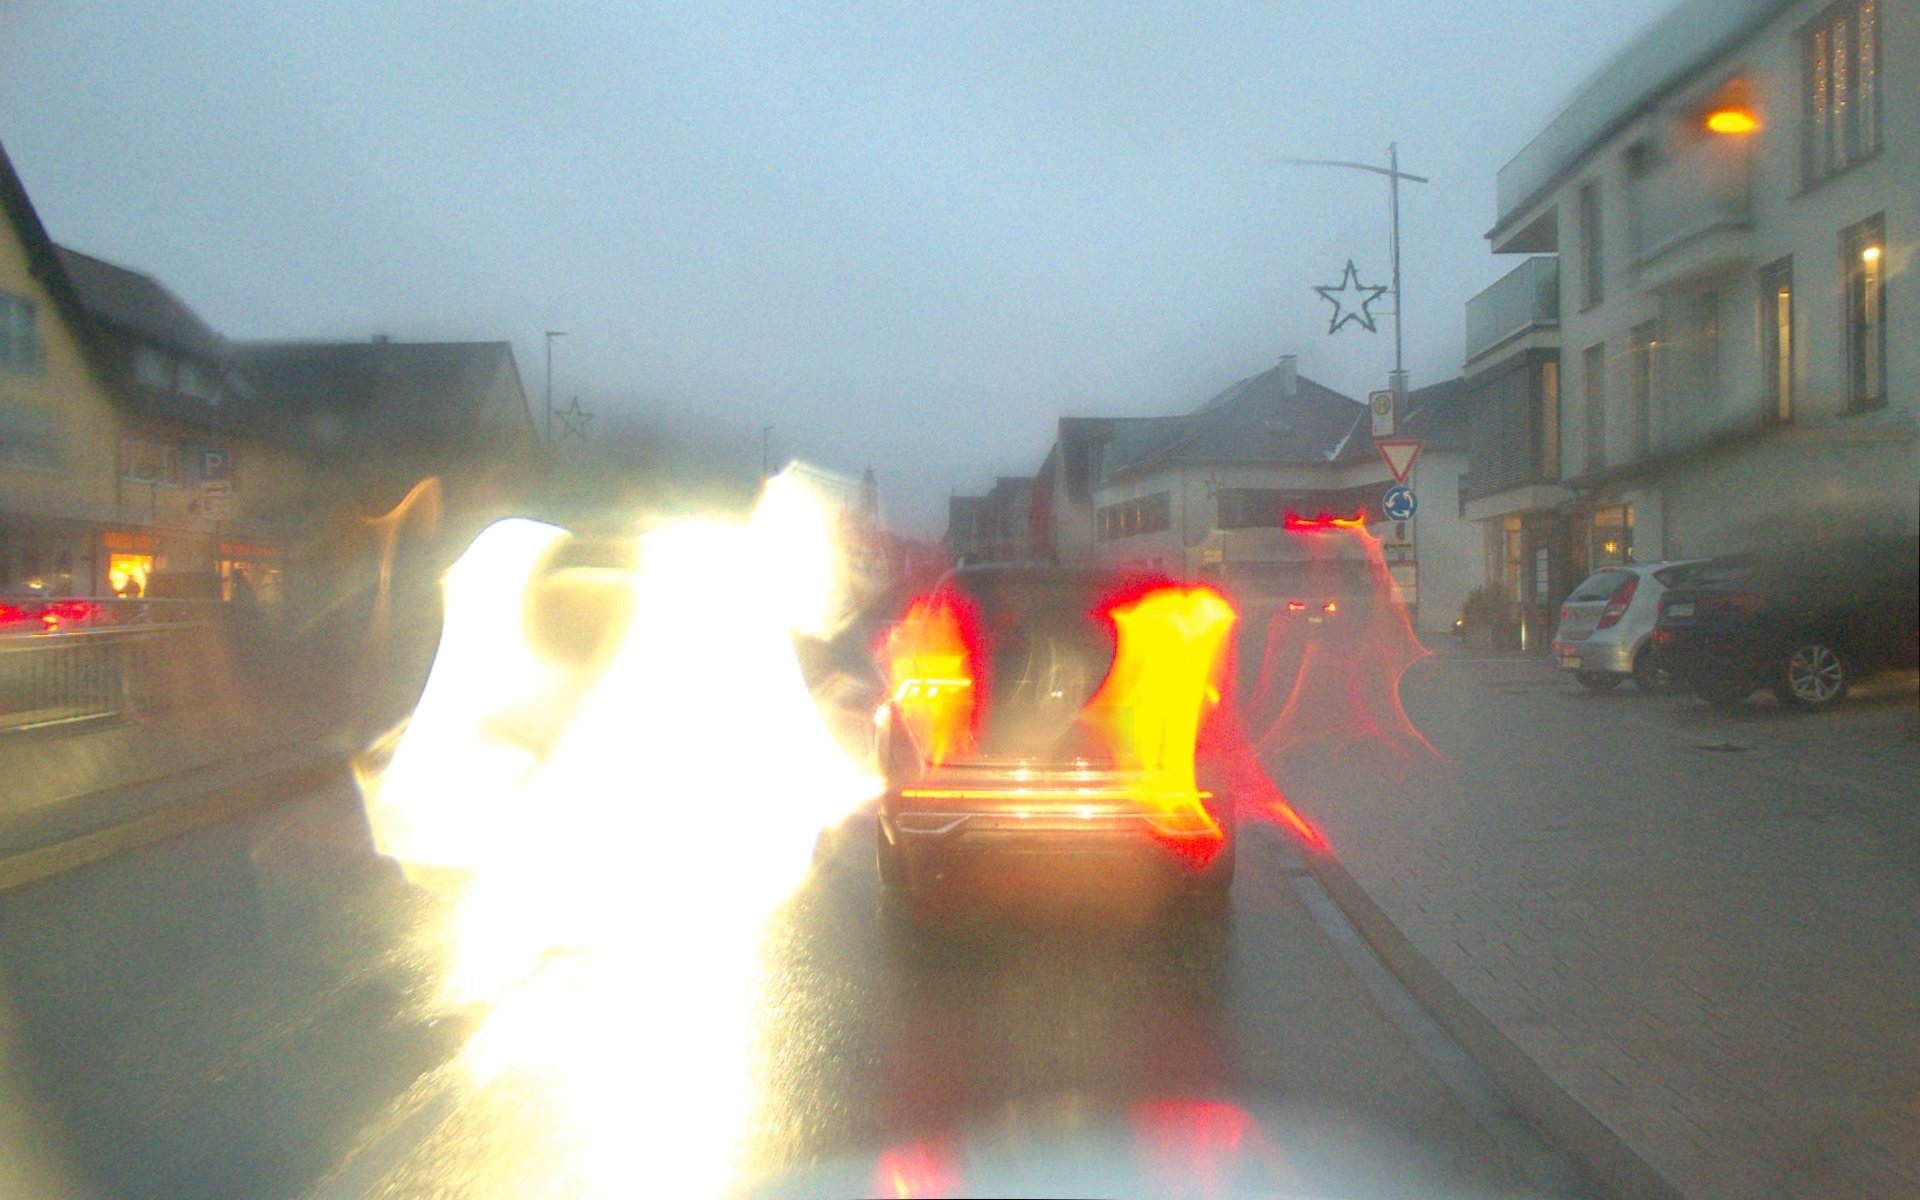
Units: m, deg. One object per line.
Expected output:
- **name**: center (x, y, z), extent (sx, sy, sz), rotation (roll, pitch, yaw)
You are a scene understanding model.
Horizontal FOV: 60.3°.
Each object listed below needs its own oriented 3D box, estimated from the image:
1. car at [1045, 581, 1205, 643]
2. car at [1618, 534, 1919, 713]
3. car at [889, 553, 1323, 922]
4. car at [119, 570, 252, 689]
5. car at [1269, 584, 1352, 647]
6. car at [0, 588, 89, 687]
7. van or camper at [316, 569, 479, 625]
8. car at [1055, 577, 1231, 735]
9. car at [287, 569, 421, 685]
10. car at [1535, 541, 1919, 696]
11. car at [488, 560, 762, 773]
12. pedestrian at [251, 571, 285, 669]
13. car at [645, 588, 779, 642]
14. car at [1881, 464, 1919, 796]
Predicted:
- **car**: center (4.552, 0.362, 45.823), extent (3.928, 1.505, 1.988), rotation (3, -2, -20)
- **car**: center (8.705, 0.146, 15.740), extent (4.123, 1.485, 1.791), rotation (-3, 0, -4)
- **car**: center (0.742, 0.594, 9.596), extent (1.923, 1.622, 4.315), rotation (1, 1, 2)
- **car**: center (-13.829, 0.468, 29.620), extent (2.011, 1.959, 4.025), rotation (-1, 1, -25)
- **car**: center (12.474, 0.521, 59.168), extent (2.113, 2.025, 4.501), rotation (-4, 0, 3)
- **car**: center (-16.687, 0.627, 29.503), extent (1.798, 1.641, 4.025), rotation (-1, 1, -25)
- **van or camper**: center (-20.474, -0.112, 60.239), extent (5.413, 1.989, 2.002), rotation (0, 0, 15)
- **car**: center (1.922, 0.531, 18.316), extent (1.647, 1.478, 4.002), rotation (-1, 2, 2)
- **car**: center (-11.271, 0.446, 30.595), extent (2.011, 1.959, 4.025), rotation (-1, 1, -25)
- **car**: center (8.960, 0.183, 18.858), extent (4.123, 1.485, 1.791), rotation (-3, 0, -4)
- **car**: center (-2.916, 0.510, 15.222), extent (1.701, 1.682, 4.000), rotation (-1, 1, 0)
- **pedestrian**: center (-12.467, 0.357, 29.782), extent (0.489, 1.731, 0.707), rotation (-2, 1, -25)
- **car**: center (-7.603, 0.422, 50.494), extent (3.930, 1.442, 1.988), rotation (0, 4, 43)
- **car**: center (7.811, -0.049, 8.895), extent (4.471, 1.953, 1.950), rotation (-6, -1, 0)
